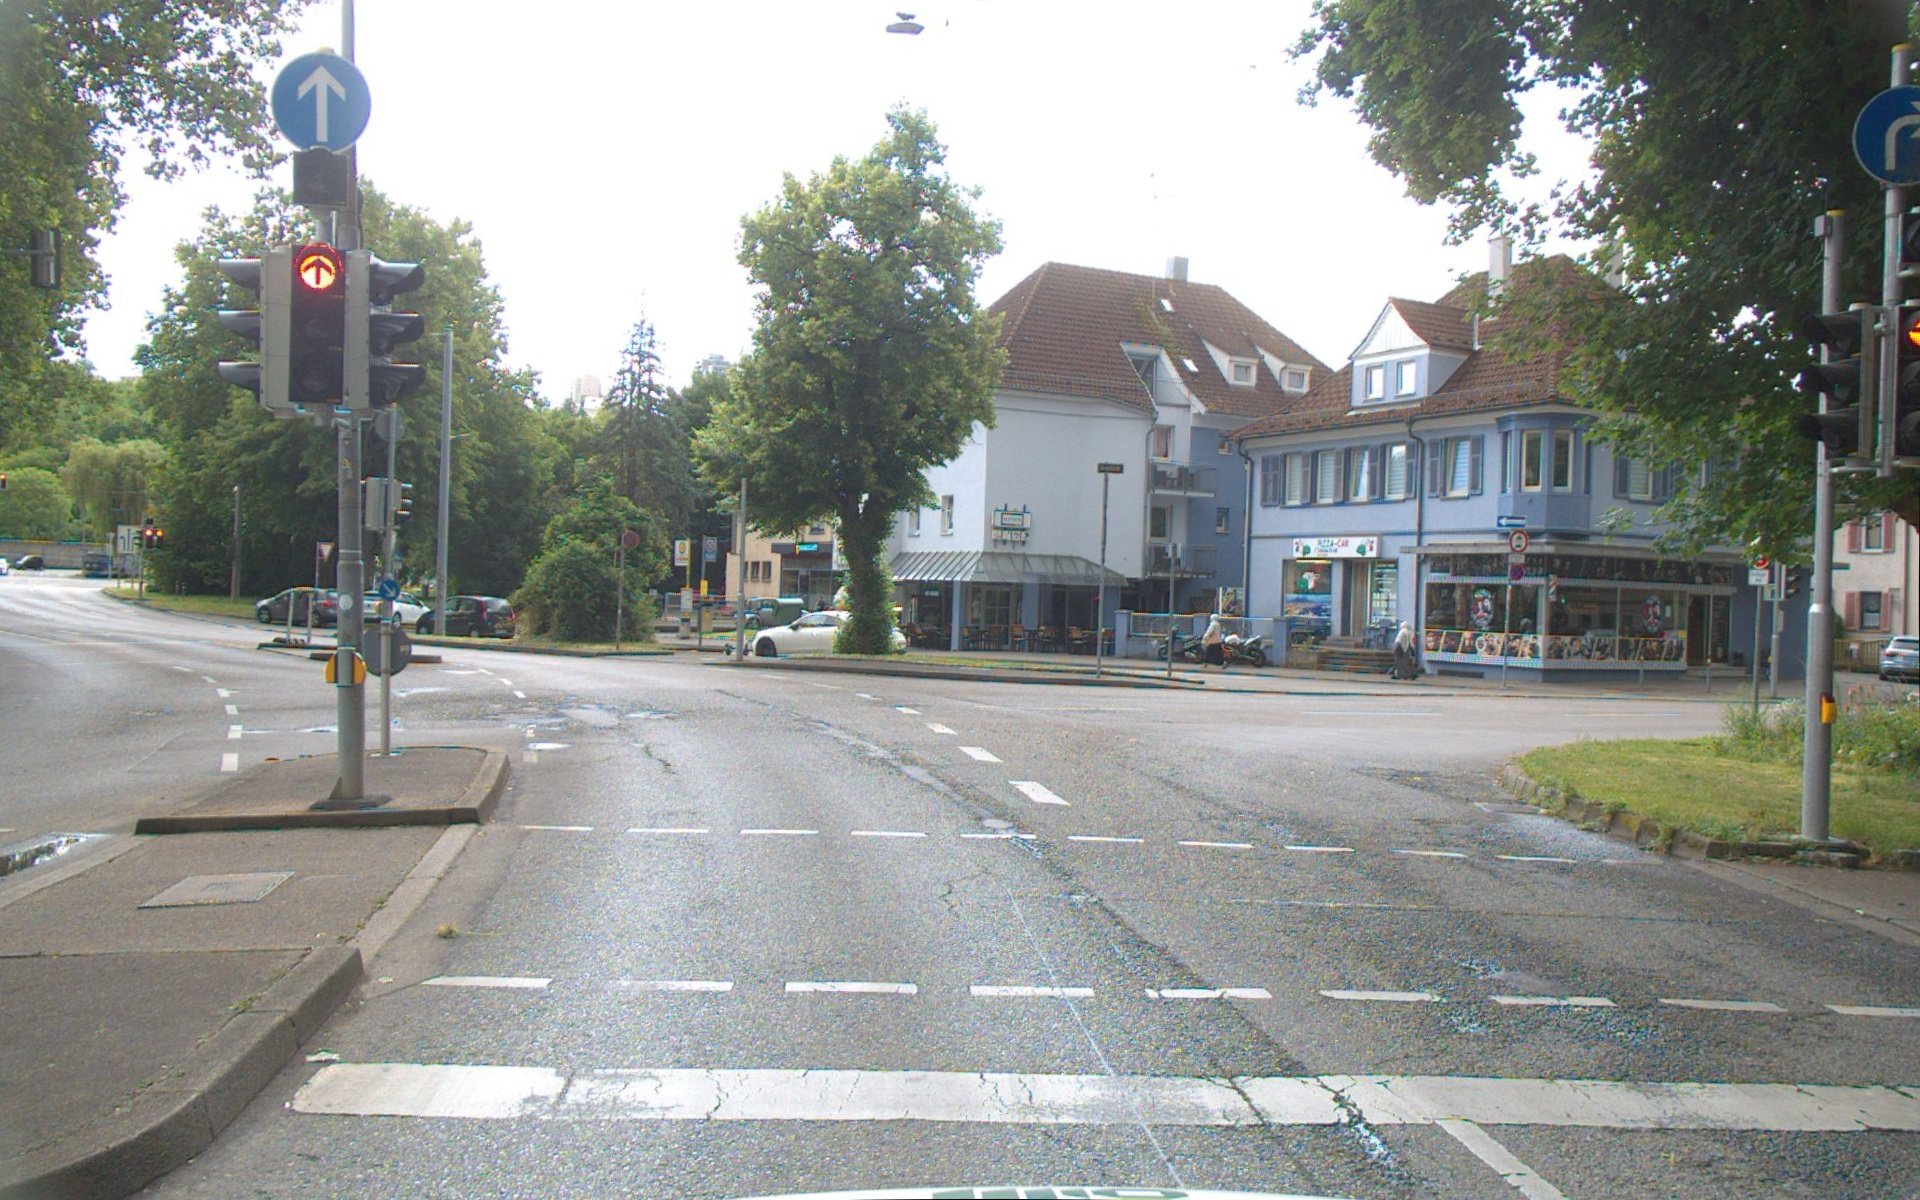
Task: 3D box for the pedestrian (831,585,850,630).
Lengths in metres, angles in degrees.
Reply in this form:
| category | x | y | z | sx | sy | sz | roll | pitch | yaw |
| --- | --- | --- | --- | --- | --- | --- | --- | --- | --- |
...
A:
| category | x | y | z | sx | sy | sz | roll | pitch | yaw |
| --- | --- | --- | --- | --- | --- | --- | --- | --- | --- |
| pedestrian | -4.270 | 0.272 | 59.136 | 0.531 | 1.587 | 0.468 | 0 | -1 | 13 |

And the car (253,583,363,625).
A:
| category | x | y | z | sx | sy | sz | roll | pitch | yaw |
| --- | --- | --- | --- | --- | --- | --- | --- | --- | --- |
| car | -25.003 | 0.155 | 63.422 | 3.695 | 1.491 | 1.622 | 1 | 0 | 18 |

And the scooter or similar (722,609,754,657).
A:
| category | x | y | z | sx | sy | sz | roll | pitch | yaw |
| --- | --- | --- | --- | --- | --- | --- | --- | --- | --- |
| scooter or similar | -5.697 | 0.830 | 42.509 | 0.433 | 1.195 | 1.439 | 1 | 0 | 8 |

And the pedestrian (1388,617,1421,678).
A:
| category | x | y | z | sx | sy | sz | roll | pitch | yaw |
| --- | --- | --- | --- | --- | --- | --- | --- | --- | --- |
| pedestrian | 11.874 | 1.258 | 44.158 | 0.681 | 1.587 | 0.665 | 0 | -1 | 30 |

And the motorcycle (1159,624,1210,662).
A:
| category | x | y | z | sx | sy | sz | roll | pitch | yaw |
| --- | --- | --- | --- | --- | --- | --- | --- | --- | --- |
| motorcycle | 6.818 | 1.289 | 50.210 | 1.430 | 1.107 | 0.522 | 1 | 0 | 35 |

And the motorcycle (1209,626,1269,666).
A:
| category | x | y | z | sx | sy | sz | roll | pitch | yaw |
| --- | --- | --- | --- | --- | --- | --- | --- | --- | --- |
| motorcycle | 8.171 | 1.340 | 48.460 | 1.595 | 1.107 | 0.625 | 1 | 0 | 32 |

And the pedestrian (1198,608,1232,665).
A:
| category | x | y | z | sx | sy | sz | roll | pitch | yaw |
| --- | --- | --- | --- | --- | --- | --- | --- | --- | --- |
| pedestrian | 7.322 | 1.046 | 47.515 | 0.717 | 1.587 | 0.767 | 0 | -1 | 30 |

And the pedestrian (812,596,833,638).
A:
| category | x | y | z | sx | sy | sz | roll | pitch | yaw |
| --- | --- | --- | --- | --- | --- | --- | --- | --- | --- |
| pedestrian | -6.700 | 0.827 | 80.474 | 0.823 | 2.049 | 1.052 | 1 | 0 | -15 |

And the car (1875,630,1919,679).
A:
| category | x | y | z | sx | sy | sz | roll | pitch | yaw |
| --- | --- | --- | --- | --- | --- | --- | --- | --- | --- |
| car | 29.702 | 1.688 | 51.690 | 1.849 | 1.415 | 3.608 | 1 | 0 | 28 |

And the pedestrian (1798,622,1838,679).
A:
| category | x | y | z | sx | sy | sz | roll | pitch | yaw |
| --- | --- | --- | --- | --- | --- | --- | --- | --- | --- |
| pedestrian | 24.063 | 1.409 | 46.386 | 0.659 | 1.587 | 0.743 | 1 | -1 | -15 |

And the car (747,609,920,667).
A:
| category | x | y | z | sx | sy | sz | roll | pitch | yaw |
| --- | --- | --- | --- | --- | --- | --- | --- | --- | --- |
| car | -3.528 | 1.023 | 45.684 | 4.618 | 1.435 | 1.896 | 1 | 0 | 35 |

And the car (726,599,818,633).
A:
| category | x | y | z | sx | sy | sz | roll | pitch | yaw |
| --- | --- | --- | --- | --- | --- | --- | --- | --- | --- |
| car | -8.576 | 0.734 | 75.480 | 3.880 | 1.467 | 1.742 | 1 | 0 | -21 |

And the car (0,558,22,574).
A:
| category | x | y | z | sx | sy | sz | roll | pitch | yaw |
| --- | --- | --- | --- | --- | --- | --- | --- | --- | --- |
| car | -88.629 | -3.146 | 153.812 | 2.970 | 1.442 | 1.492 | 0 | -2 | 40 |

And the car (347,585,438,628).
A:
| category | x | y | z | sx | sy | sz | roll | pitch | yaw |
| --- | --- | --- | --- | --- | --- | --- | --- | --- | --- |
| car | -22.728 | 0.261 | 66.405 | 1.821 | 1.668 | 3.757 | 1 | 0 | 10 |

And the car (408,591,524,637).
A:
| category | x | y | z | sx | sy | sz | roll | pitch | yaw |
| --- | --- | --- | --- | --- | --- | --- | --- | --- | --- |
| car | -15.910 | 0.449 | 53.264 | 3.252 | 1.376 | 1.778 | 1 | 0 | 27 |
